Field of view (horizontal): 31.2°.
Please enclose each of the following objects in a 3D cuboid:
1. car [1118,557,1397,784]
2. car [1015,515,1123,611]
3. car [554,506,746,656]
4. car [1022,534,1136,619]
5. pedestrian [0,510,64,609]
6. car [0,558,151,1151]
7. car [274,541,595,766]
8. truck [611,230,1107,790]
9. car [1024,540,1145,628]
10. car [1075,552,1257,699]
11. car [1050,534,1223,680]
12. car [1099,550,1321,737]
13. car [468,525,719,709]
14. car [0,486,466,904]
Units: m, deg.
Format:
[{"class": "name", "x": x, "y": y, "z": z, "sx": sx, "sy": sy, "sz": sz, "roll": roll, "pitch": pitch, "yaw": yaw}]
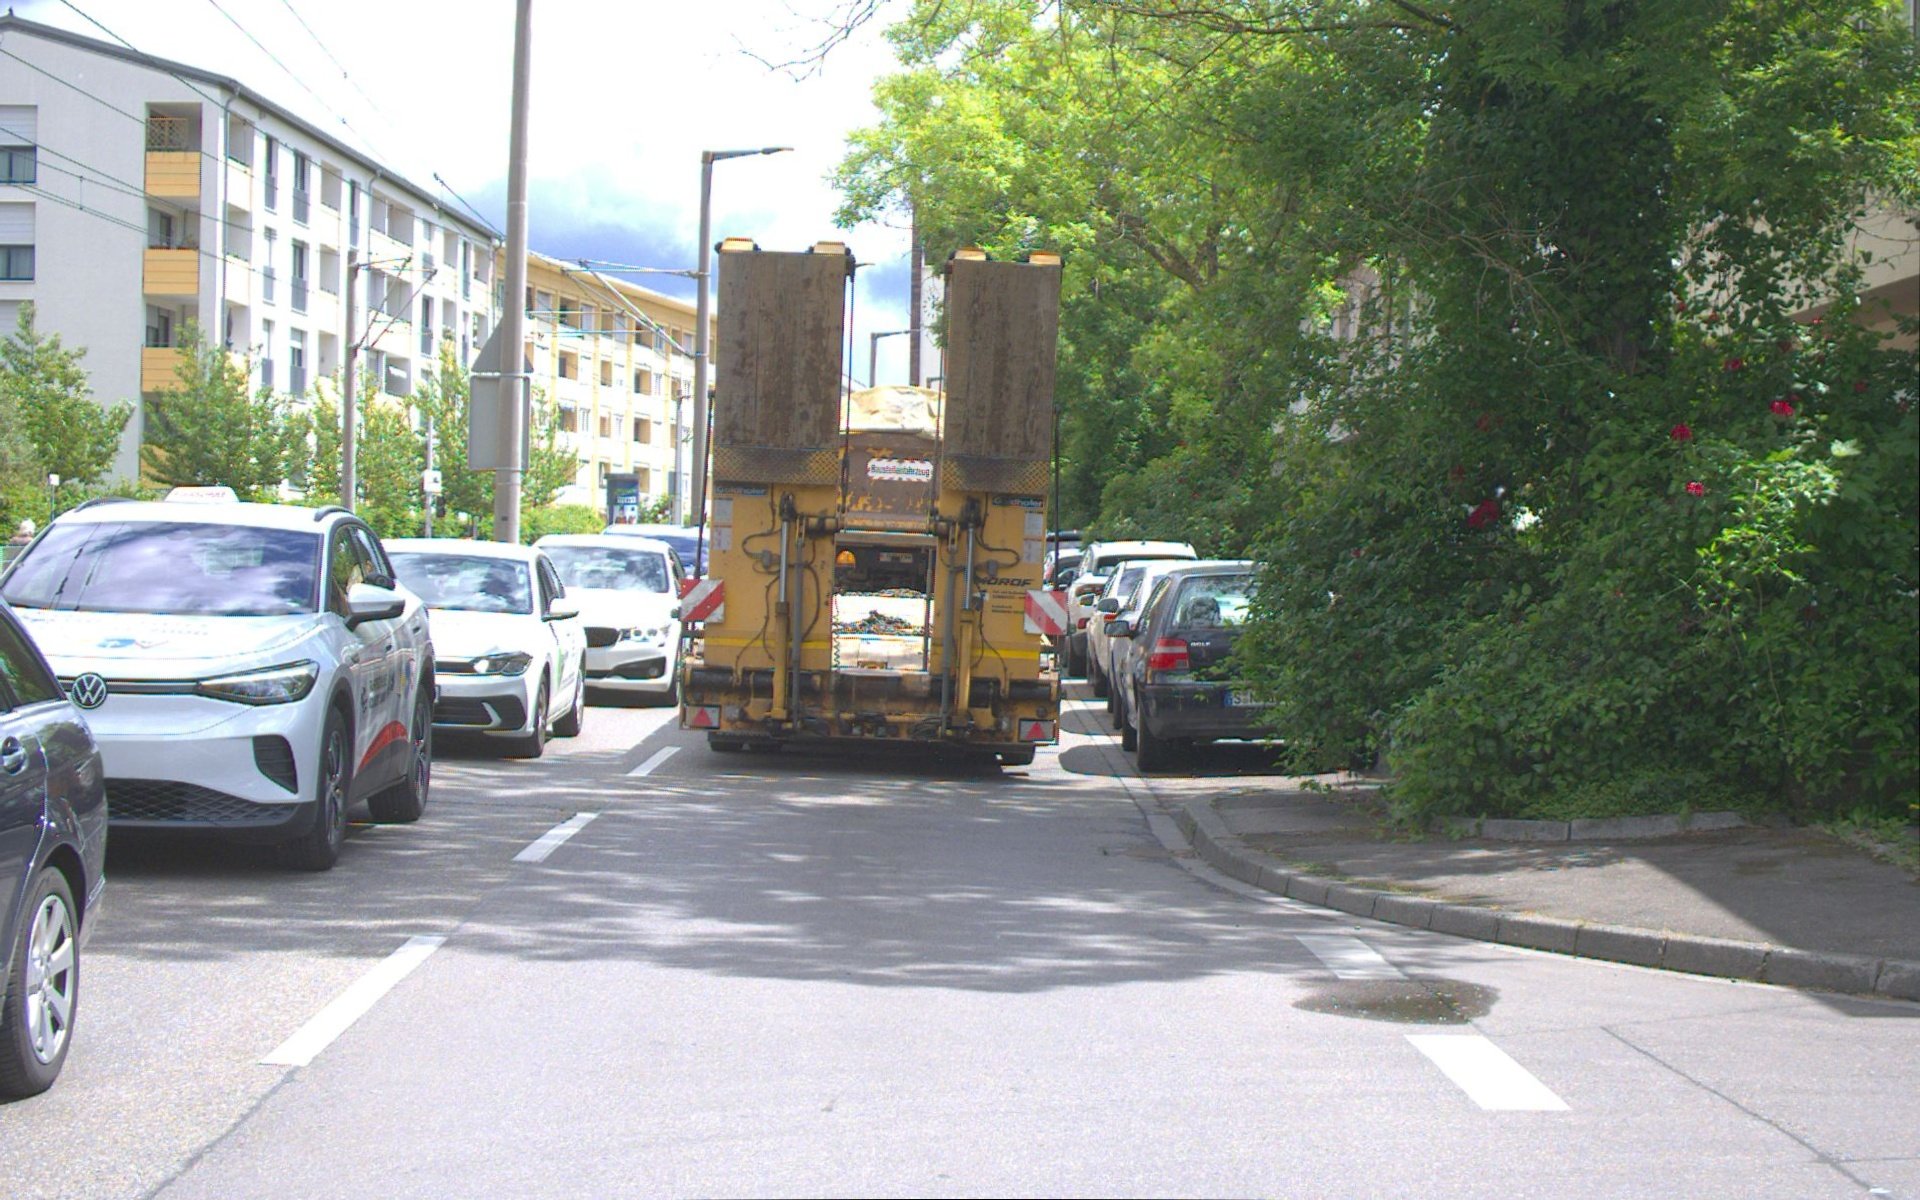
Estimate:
[{"class": "car", "x": 2.112, "y": 0.452, "z": 25.365, "sx": 1.814, "sy": 1.458, "sz": 4.041, "roll": 2, "pitch": 1, "yaw": 2}, {"class": "car", "x": 2.142, "y": -0.746, "z": 67.258, "sx": 2.015, "sy": 1.782, "sz": 5.076, "roll": 1, "pitch": 1, "yaw": 2}, {"class": "car", "x": -3.673, "y": -0.264, "z": 41.441, "sx": 1.817, "sy": 1.608, "sz": 4.602, "roll": 3, "pitch": 1, "yaw": 0}, {"class": "car", "x": 2.068, "y": -0.434, "z": 60.650, "sx": 1.771, "sy": 1.437, "sz": 3.900, "roll": -1, "pitch": 1, "yaw": -1}, {"class": "pedestrian", "x": -14.262, "y": -0.632, "z": 52.643, "sx": 0.796, "sy": 1.478, "sz": 0.996, "roll": 2, "pitch": 1, "yaw": 0}, {"class": "car", "x": -3.258, "y": 0.632, "z": 7.651, "sx": 1.811, "sy": 1.440, "sz": 4.465, "roll": 2, "pitch": 1, "yaw": 0}, {"class": "car", "x": -3.628, "y": 0.315, "z": 24.340, "sx": 1.746, "sy": 1.401, "sz": 3.941, "roll": 2, "pitch": 1, "yaw": -2}, {"class": "truck", "x": -0.643, "y": -0.719, "z": 28.721, "sx": 3.124, "sy": 3.552, "sz": 12.460, "roll": 2, "pitch": 1, "yaw": 0}, {"class": "car", "x": 2.039, "y": -0.282, "z": 55.357, "sx": 1.771, "sy": 1.345, "sz": 4.000, "roll": -1, "pitch": 1, "yaw": 4}, {"class": "car", "x": 2.182, "y": 0.231, "z": 37.331, "sx": 1.725, "sy": 1.421, "sz": 4.446, "roll": 2, "pitch": 1, "yaw": 1}, {"class": "car", "x": 2.121, "y": 0.040, "z": 42.466, "sx": 1.837, "sy": 1.638, "sz": 4.430, "roll": 2, "pitch": 1, "yaw": 0}, {"class": "car", "x": 2.205, "y": 0.327, "z": 31.385, "sx": 1.814, "sy": 1.493, "sz": 4.910, "roll": 2, "pitch": 1, "yaw": 2}, {"class": "car", "x": -3.332, "y": 0.098, "z": 32.077, "sx": 1.817, "sy": 1.497, "sz": 4.837, "roll": 3, "pitch": 1, "yaw": -1}, {"class": "car", "x": -3.561, "y": 0.337, "z": 16.368, "sx": 1.857, "sy": 1.684, "sz": 4.434, "roll": 2, "pitch": 1, "yaw": -2}]
